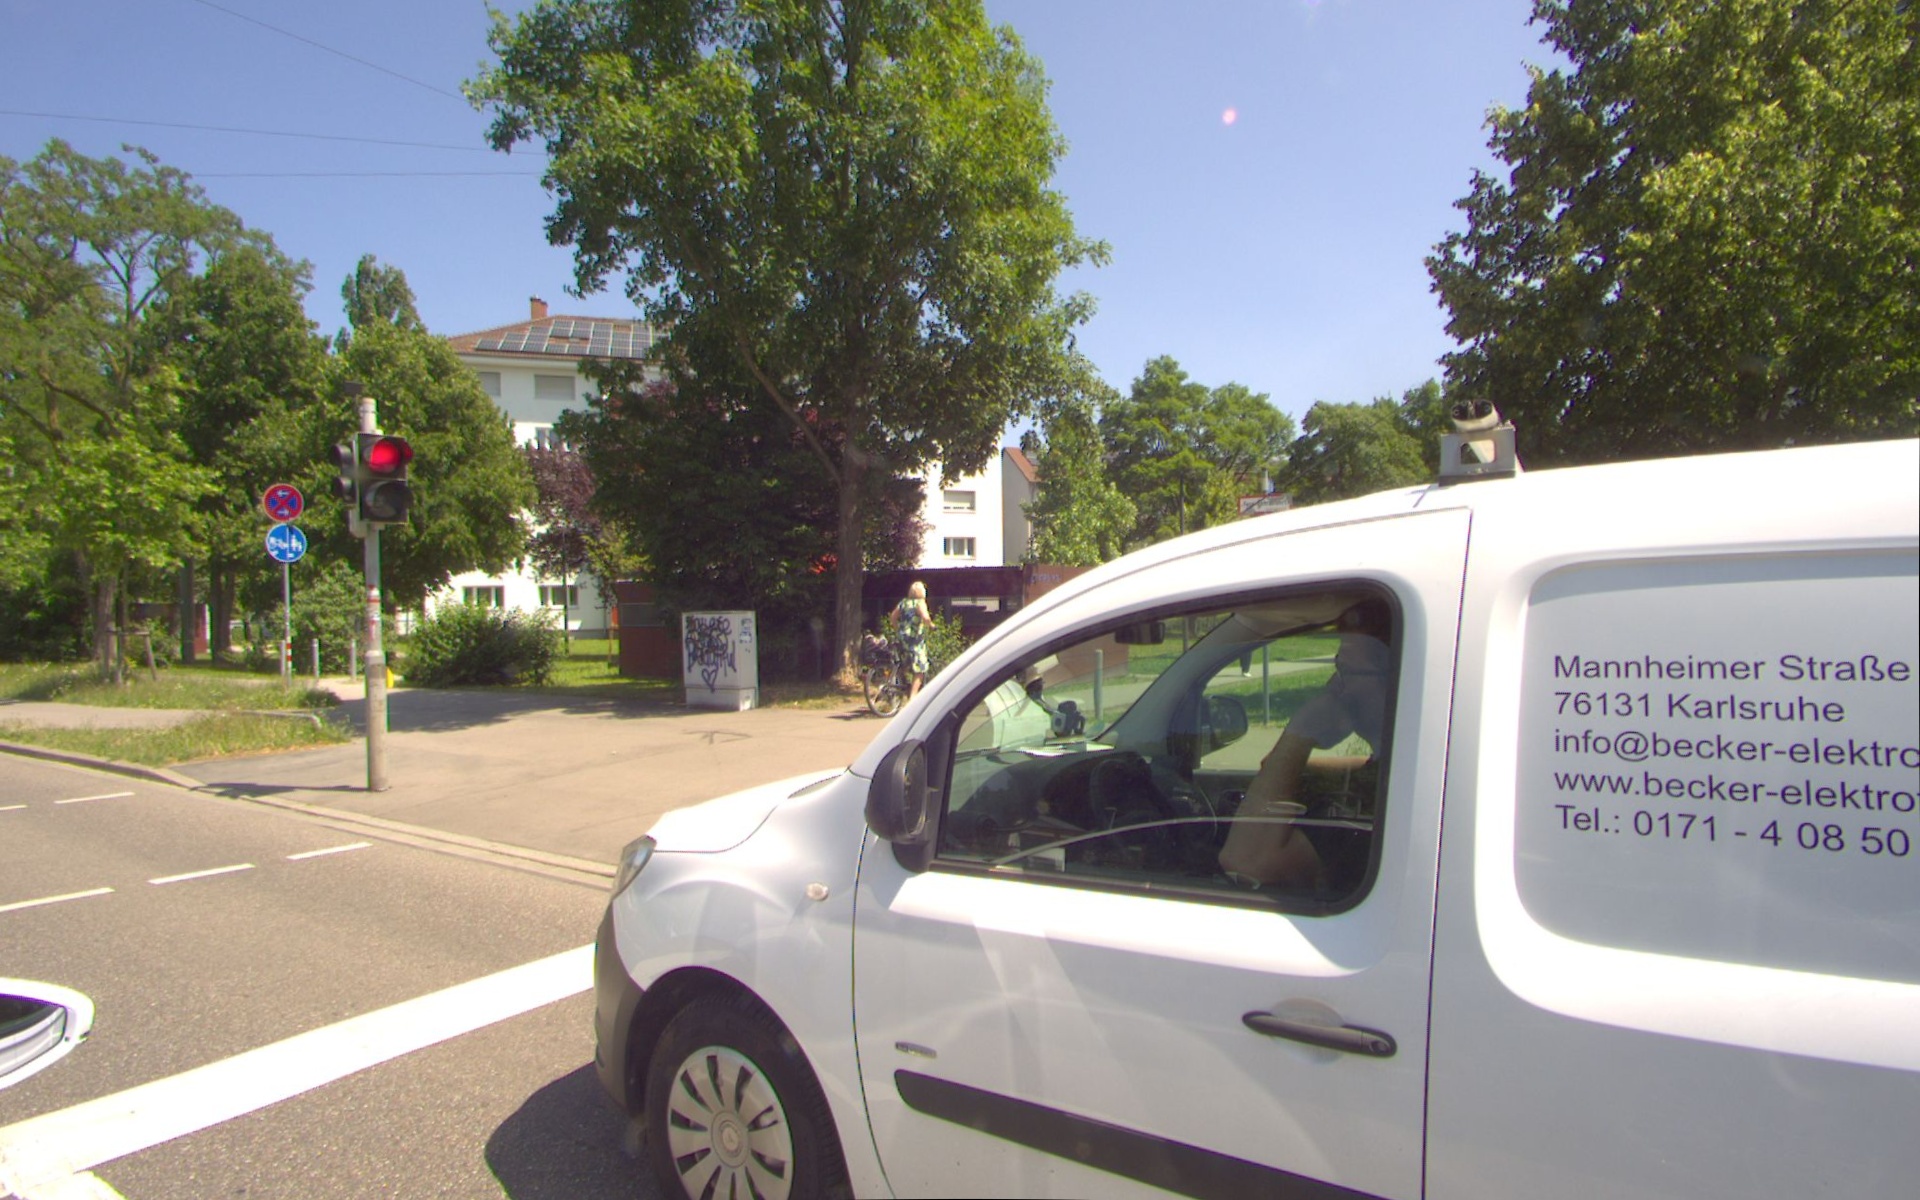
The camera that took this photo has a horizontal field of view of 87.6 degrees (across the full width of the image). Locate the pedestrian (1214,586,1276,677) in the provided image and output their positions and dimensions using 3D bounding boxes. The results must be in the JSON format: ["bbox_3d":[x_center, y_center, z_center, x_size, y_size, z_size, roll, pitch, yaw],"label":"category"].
[{"bbox_3d":[5.850,0.631,20.524,0.829,1.801,1.180,-2,1,36],"label":"pedestrian"}]

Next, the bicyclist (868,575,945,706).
[{"bbox_3d":[-0.711,0.518,13.492,0.572,1.689,0.955,0,2,32],"label":"bicyclist"}]

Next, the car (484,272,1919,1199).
[{"bbox_3d":[1.124,0.568,2.304,4.384,1.850,1.990,-1,0,32],"label":"car"}]

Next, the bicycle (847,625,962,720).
[{"bbox_3d":[-0.709,0.936,13.497,0.533,1.176,1.954,0,-1,32],"label":"bicycle"}]
